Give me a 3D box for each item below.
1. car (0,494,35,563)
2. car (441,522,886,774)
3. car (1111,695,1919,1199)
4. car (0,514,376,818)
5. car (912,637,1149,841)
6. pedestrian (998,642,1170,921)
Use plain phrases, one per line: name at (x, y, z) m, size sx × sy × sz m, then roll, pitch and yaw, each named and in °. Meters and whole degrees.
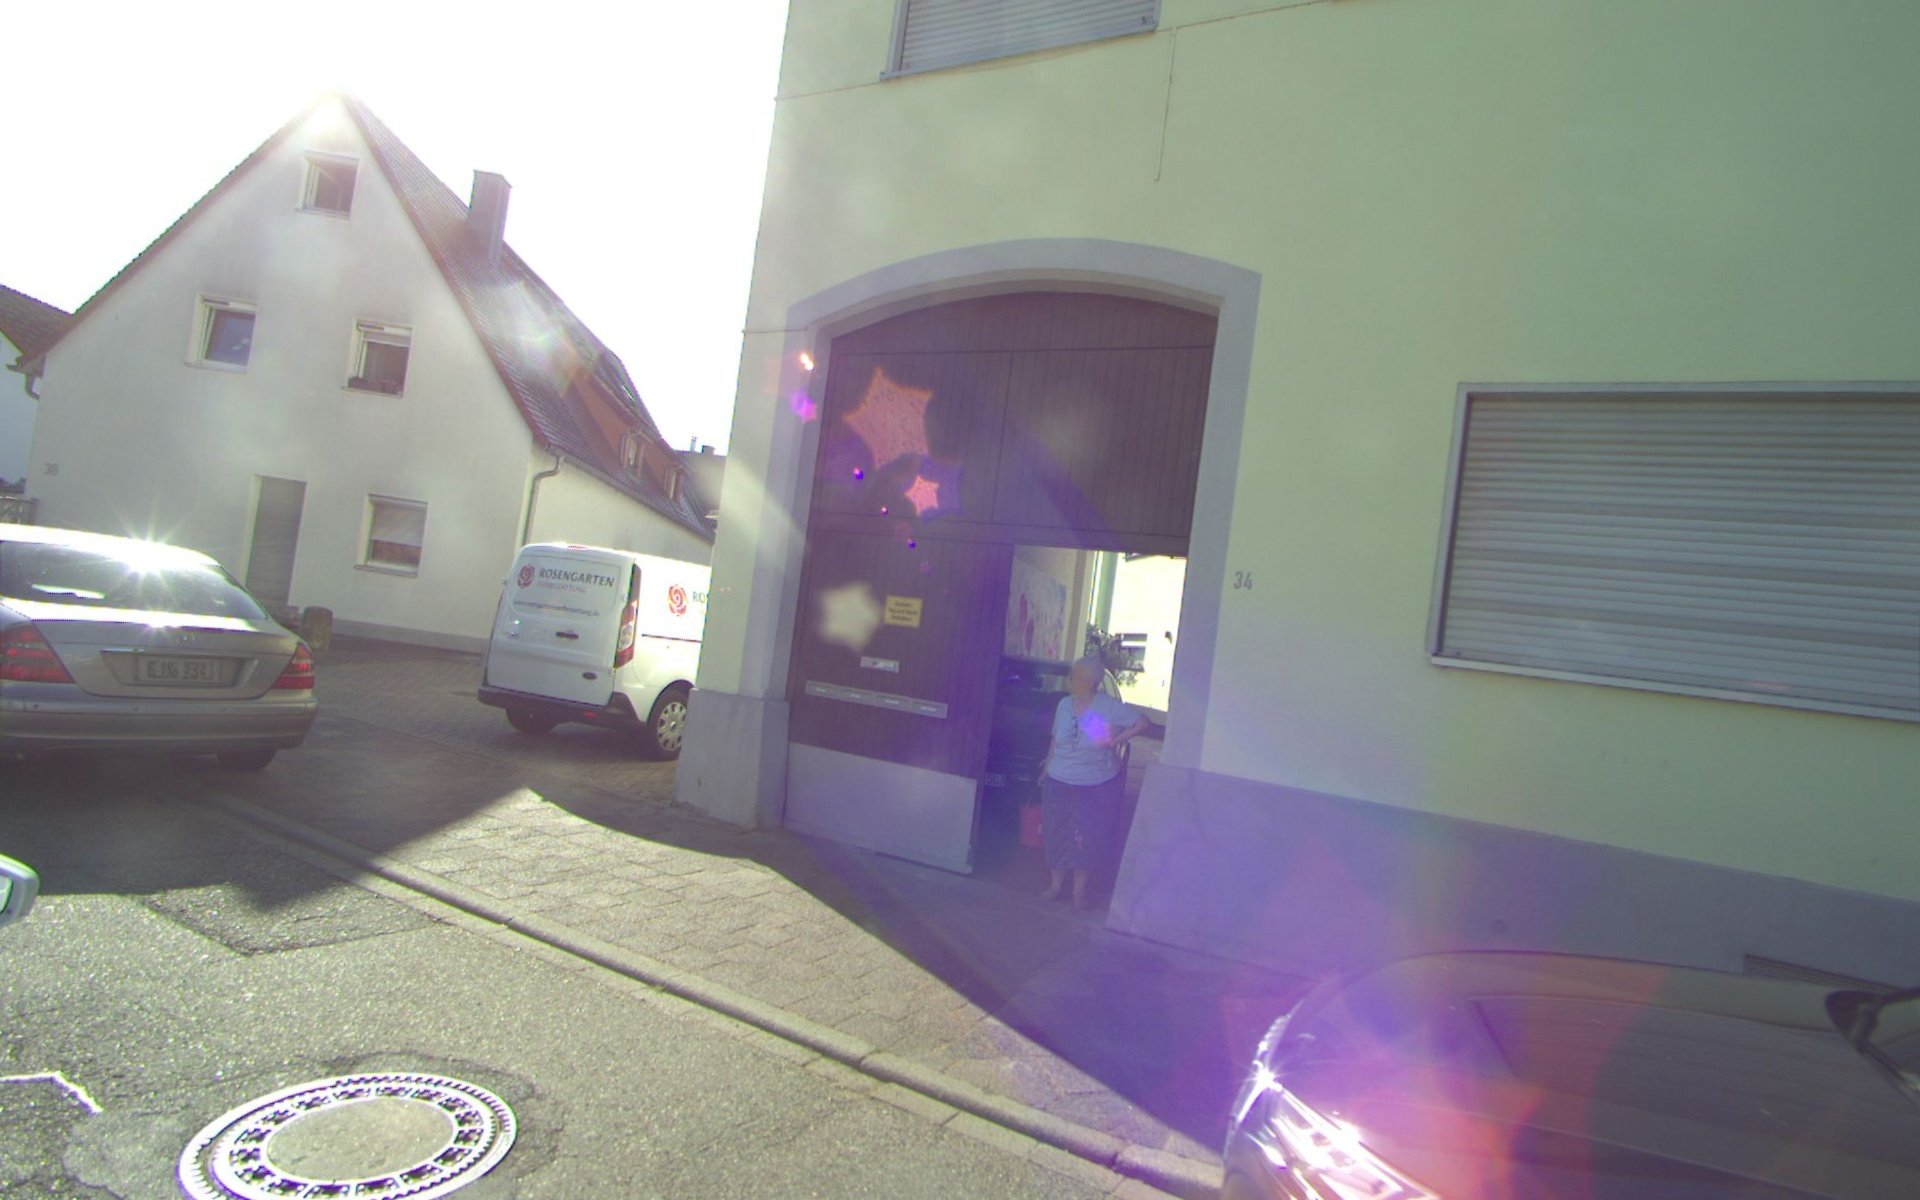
car at (-25.660, -2.030, 24.701) m, size 1.876 × 1.707 × 4.052 m, roll 8°, pitch -2°, yaw 1°
car at (-2.791, 0.505, 10.843) m, size 1.873 × 1.909 × 4.777 m, roll 8°, pitch 0°, yaw 22°
car at (2.776, 1.287, 1.449) m, size 4.760 × 1.491 × 1.815 m, roll 7°, pitch -4°, yaw 29°
car at (-6.210, 0.226, 6.893) m, size 4.584 × 1.491 × 1.816 m, roll 7°, pitch -3°, yaw 33°
car at (0.947, 1.347, 10.684) m, size 1.424 × 1.554 × 3.943 m, roll 8°, pitch -2°, yaw 18°
pedestrian at (0.801, 1.118, 6.409) m, size 0.756 × 1.568 × 0.566 m, roll 7°, pitch -2°, yaw 25°
